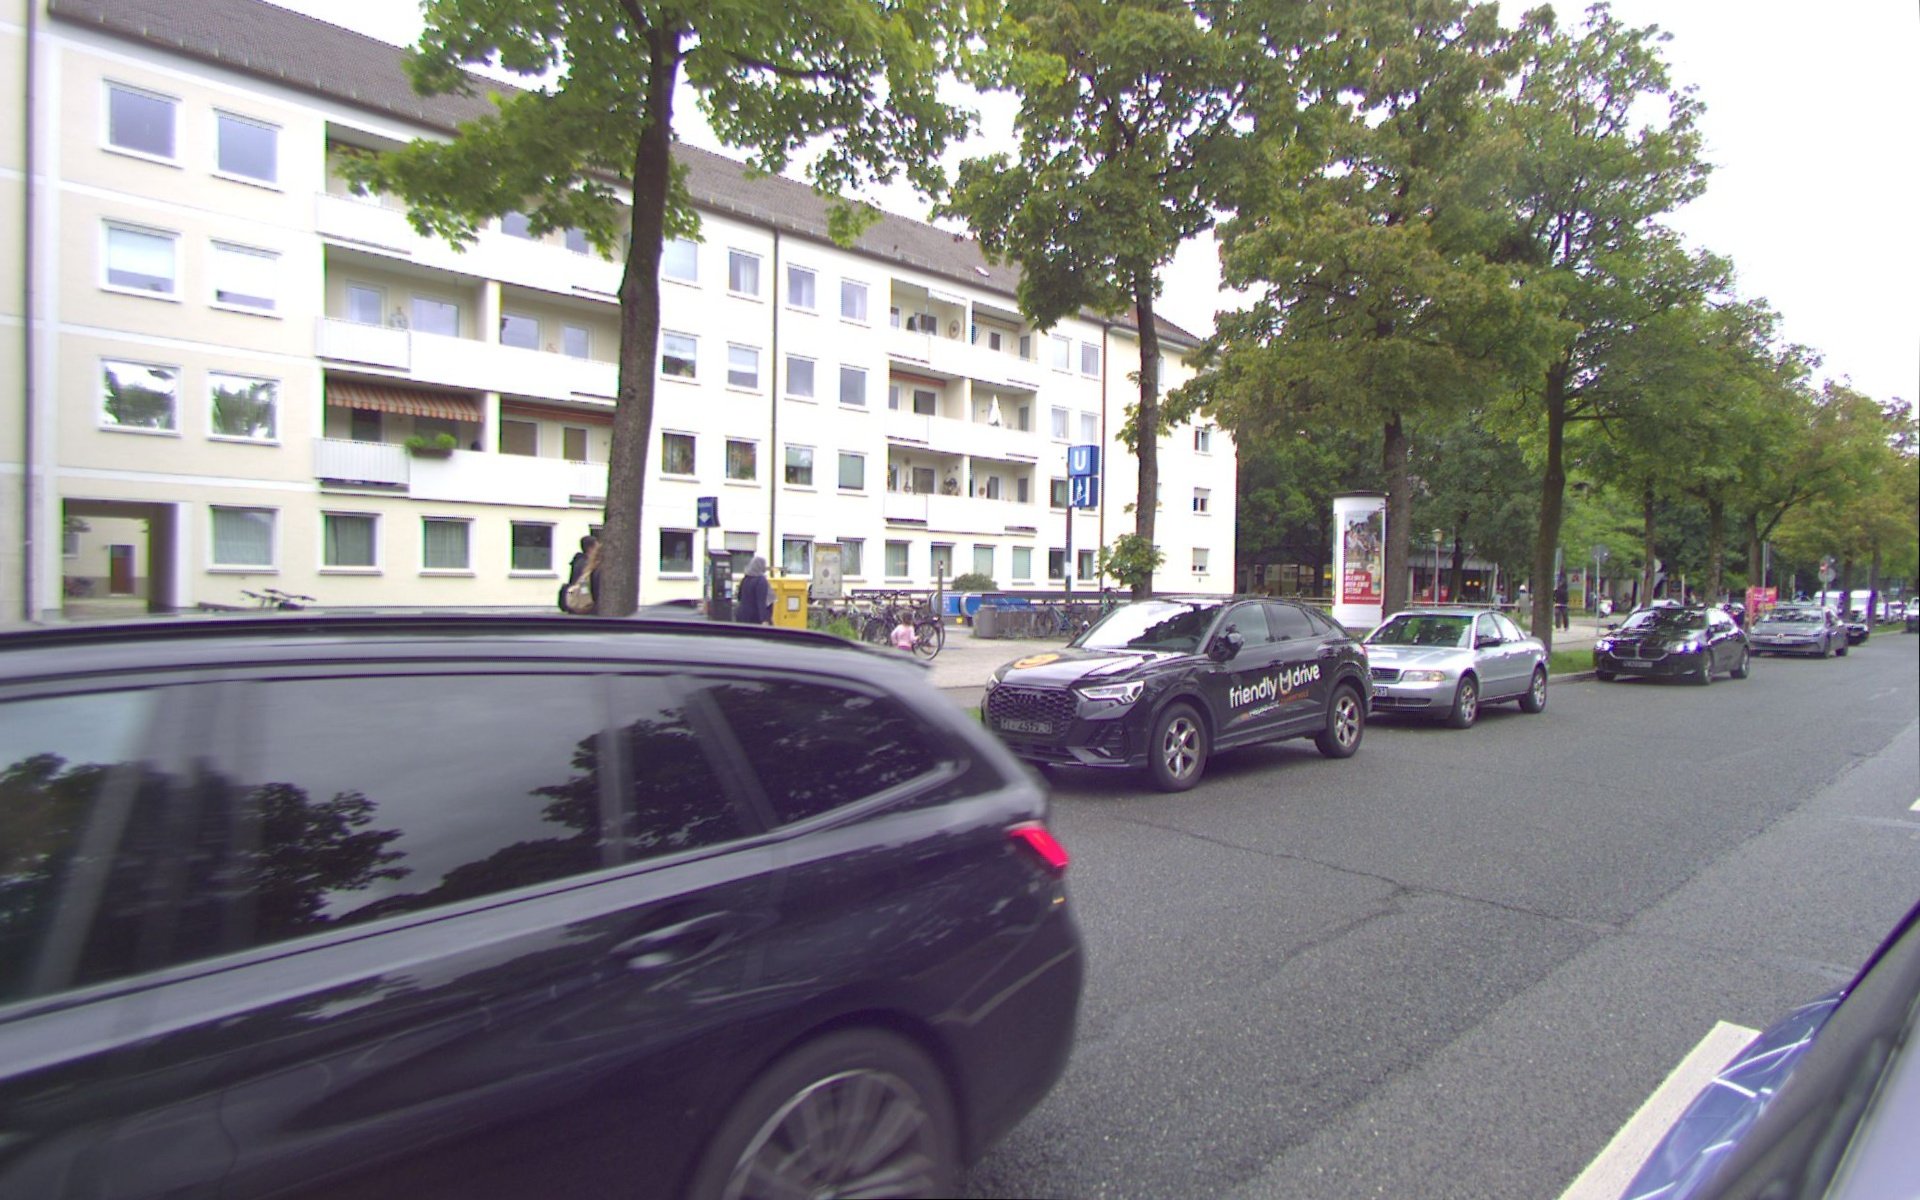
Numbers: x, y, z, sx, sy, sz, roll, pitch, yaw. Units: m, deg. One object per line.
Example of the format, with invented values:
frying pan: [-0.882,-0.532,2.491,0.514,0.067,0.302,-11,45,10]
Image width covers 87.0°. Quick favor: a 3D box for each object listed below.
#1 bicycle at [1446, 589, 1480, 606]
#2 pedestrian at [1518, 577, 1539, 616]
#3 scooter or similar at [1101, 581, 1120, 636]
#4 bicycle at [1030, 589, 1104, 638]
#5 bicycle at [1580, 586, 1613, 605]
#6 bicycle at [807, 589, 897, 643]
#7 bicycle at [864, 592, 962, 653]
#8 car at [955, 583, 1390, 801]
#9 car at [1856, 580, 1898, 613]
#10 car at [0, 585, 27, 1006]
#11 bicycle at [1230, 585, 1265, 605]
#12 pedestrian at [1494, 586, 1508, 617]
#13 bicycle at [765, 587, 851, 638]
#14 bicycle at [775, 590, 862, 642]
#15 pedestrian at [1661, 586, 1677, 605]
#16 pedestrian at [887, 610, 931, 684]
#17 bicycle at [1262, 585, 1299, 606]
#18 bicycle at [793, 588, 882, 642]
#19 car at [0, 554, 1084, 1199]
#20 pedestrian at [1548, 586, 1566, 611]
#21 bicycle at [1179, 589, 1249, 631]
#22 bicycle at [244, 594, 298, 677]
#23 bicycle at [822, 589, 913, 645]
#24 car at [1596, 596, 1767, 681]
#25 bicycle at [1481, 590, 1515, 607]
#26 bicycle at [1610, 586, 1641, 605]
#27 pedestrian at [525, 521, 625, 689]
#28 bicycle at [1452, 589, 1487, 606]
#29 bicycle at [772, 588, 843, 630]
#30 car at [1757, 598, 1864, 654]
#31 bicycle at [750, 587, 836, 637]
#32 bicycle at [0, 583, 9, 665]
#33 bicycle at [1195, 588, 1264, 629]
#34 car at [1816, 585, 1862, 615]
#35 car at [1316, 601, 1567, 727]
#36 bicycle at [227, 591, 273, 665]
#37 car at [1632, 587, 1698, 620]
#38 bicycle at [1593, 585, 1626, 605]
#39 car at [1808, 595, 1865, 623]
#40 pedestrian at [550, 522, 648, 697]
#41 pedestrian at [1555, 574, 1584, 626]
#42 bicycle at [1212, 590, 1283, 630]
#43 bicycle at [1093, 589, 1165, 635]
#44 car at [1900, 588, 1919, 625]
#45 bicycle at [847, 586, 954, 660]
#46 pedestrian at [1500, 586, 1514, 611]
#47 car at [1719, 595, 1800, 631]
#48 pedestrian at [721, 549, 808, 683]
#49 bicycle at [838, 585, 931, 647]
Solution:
bicycle: [34.635,-0.156,69.674,0.447,1.134,2.079,1,1,-40]
pedestrian: [25.618,-0.170,45.603,0.631,1.752,0.599,0,0,11]
scooter or similar: [3.506,0.189,23.588,0.352,1.215,1.388,1,2,7]
bicycle: [2.460,0.293,23.434,0.425,1.041,1.880,0,2,-43]
bicycle: [54.268,-0.390,86.337,0.638,1.551,2.312,0,1,-40]
bicycle: [-2.142,0.311,20.269,1.850,1.041,0.432,0,2,-40]
bicycle: [-0.823,0.390,18.125,1.850,1.041,0.432,0,2,-40]
car: [2.093,0.660,9.247,4.200,1.552,1.719,0,0,-41]
car: [76.432,-0.279,84.314,5.901,2.691,1.976,0,-1,-41]
car: [-5.450,0.708,2.868,4.066,1.484,1.684,0,-1,-42]
bicycle: [14.297,-0.250,50.367,0.448,0.983,1.693,1,1,-44]
pedestrian: [27.897,0.079,52.160,0.574,1.594,0.774,0,0,25]
bicycle: [-3.224,0.258,21.635,1.850,1.041,0.432,0,2,-40]
bicycle: [-2.943,0.325,21.234,1.850,1.041,0.432,0,2,-40]
pedestrian: [66.293,-0.407,94.629,0.755,1.719,0.876,0,2,-26]
pedestrian: [-0.687,0.625,13.683,0.427,0.961,0.408,0,1,-42]
bicycle: [15.550,-0.232,49.096,0.448,0.983,1.693,1,1,-44]
bicycle: [-2.476,0.294,20.621,1.850,1.041,0.432,0,2,-40]
car: [-1.916,0.665,1.530,4.386,1.431,1.761,0,0,-42]
pedestrian: [37.388,-0.093,63.395,0.738,1.614,0.660,0,-1,-22]
bicycle: [6.870,0.263,27.449,0.425,1.041,1.880,0,2,-43]
bicycle: [-8.777,0.414,12.871,0.425,0.986,1.881,0,0,-39]
bicycle: [-1.798,0.318,19.839,1.850,1.041,0.432,0,2,-40]
car: [14.149,0.676,19.767,4.102,1.484,1.754,0,0,-40]
bicycle: [37.453,-0.111,70.512,0.447,1.134,2.079,1,1,-40]
bicycle: [59.541,-0.380,90.593,2.298,1.643,0.642,1,1,33]
pedestrian: [-4.594,0.046,12.086,0.903,1.913,0.730,0,2,-42]
bicycle: [34.607,-0.168,68.767,0.447,1.134,2.079,1,1,-40]
bicycle: [-3.950,0.233,26.227,1.850,1.041,0.432,0,2,-40]
car: [24.334,0.694,28.910,4.041,1.484,1.685,0,0,-40]
bicycle: [-3.605,0.258,21.959,1.850,1.041,0.432,0,2,-40]
bicycle: [-11.293,0.277,11.510,0.548,0.951,1.881,0,0,-39]
bicycle: [7.453,0.226,28.074,1.878,1.041,0.426,3,2,44]
car: [78.437,-0.031,90.257,5.755,2.560,2.267,0,1,-41]
car: [6.446,0.712,13.317,4.174,1.403,1.637,0,0,-44]
bicycle: [-10.105,0.362,14.382,0.425,0.986,1.881,0,0,-39]
car: [37.813,0.185,54.248,4.122,1.654,1.826,0,2,-39]
bicycle: [56.115,-0.450,87.415,0.638,1.643,2.312,1,1,-40]
car: [47.434,0.484,54.712,4.610,1.450,1.730,0,0,-41]
pedestrian: [-4.128,0.089,11.583,0.886,1.913,0.589,0,1,-42]
pedestrian: [21.258,-0.010,35.310,0.639,1.771,0.836,4,2,43]
bicycle: [8.015,0.260,28.260,1.876,1.041,0.426,3,2,42]
bicycle: [4.162,0.272,25.092,0.425,1.041,1.880,0,2,-43]
car: [51.979,0.342,54.207,4.847,1.952,1.884,0,0,-41]
bicycle: [-0.967,0.372,16.730,1.850,1.147,0.432,1,1,-40]
pedestrian: [35.413,-0.085,65.537,0.624,1.561,0.656,3,3,21]
car: [32.822,0.501,41.499,4.274,1.397,1.725,0,0,-39]
pedestrian: [-2.605,0.189,13.466,0.820,1.702,0.840,0,1,-42]
bicycle: [-1.417,0.296,19.238,1.850,1.115,0.432,0,1,-40]
